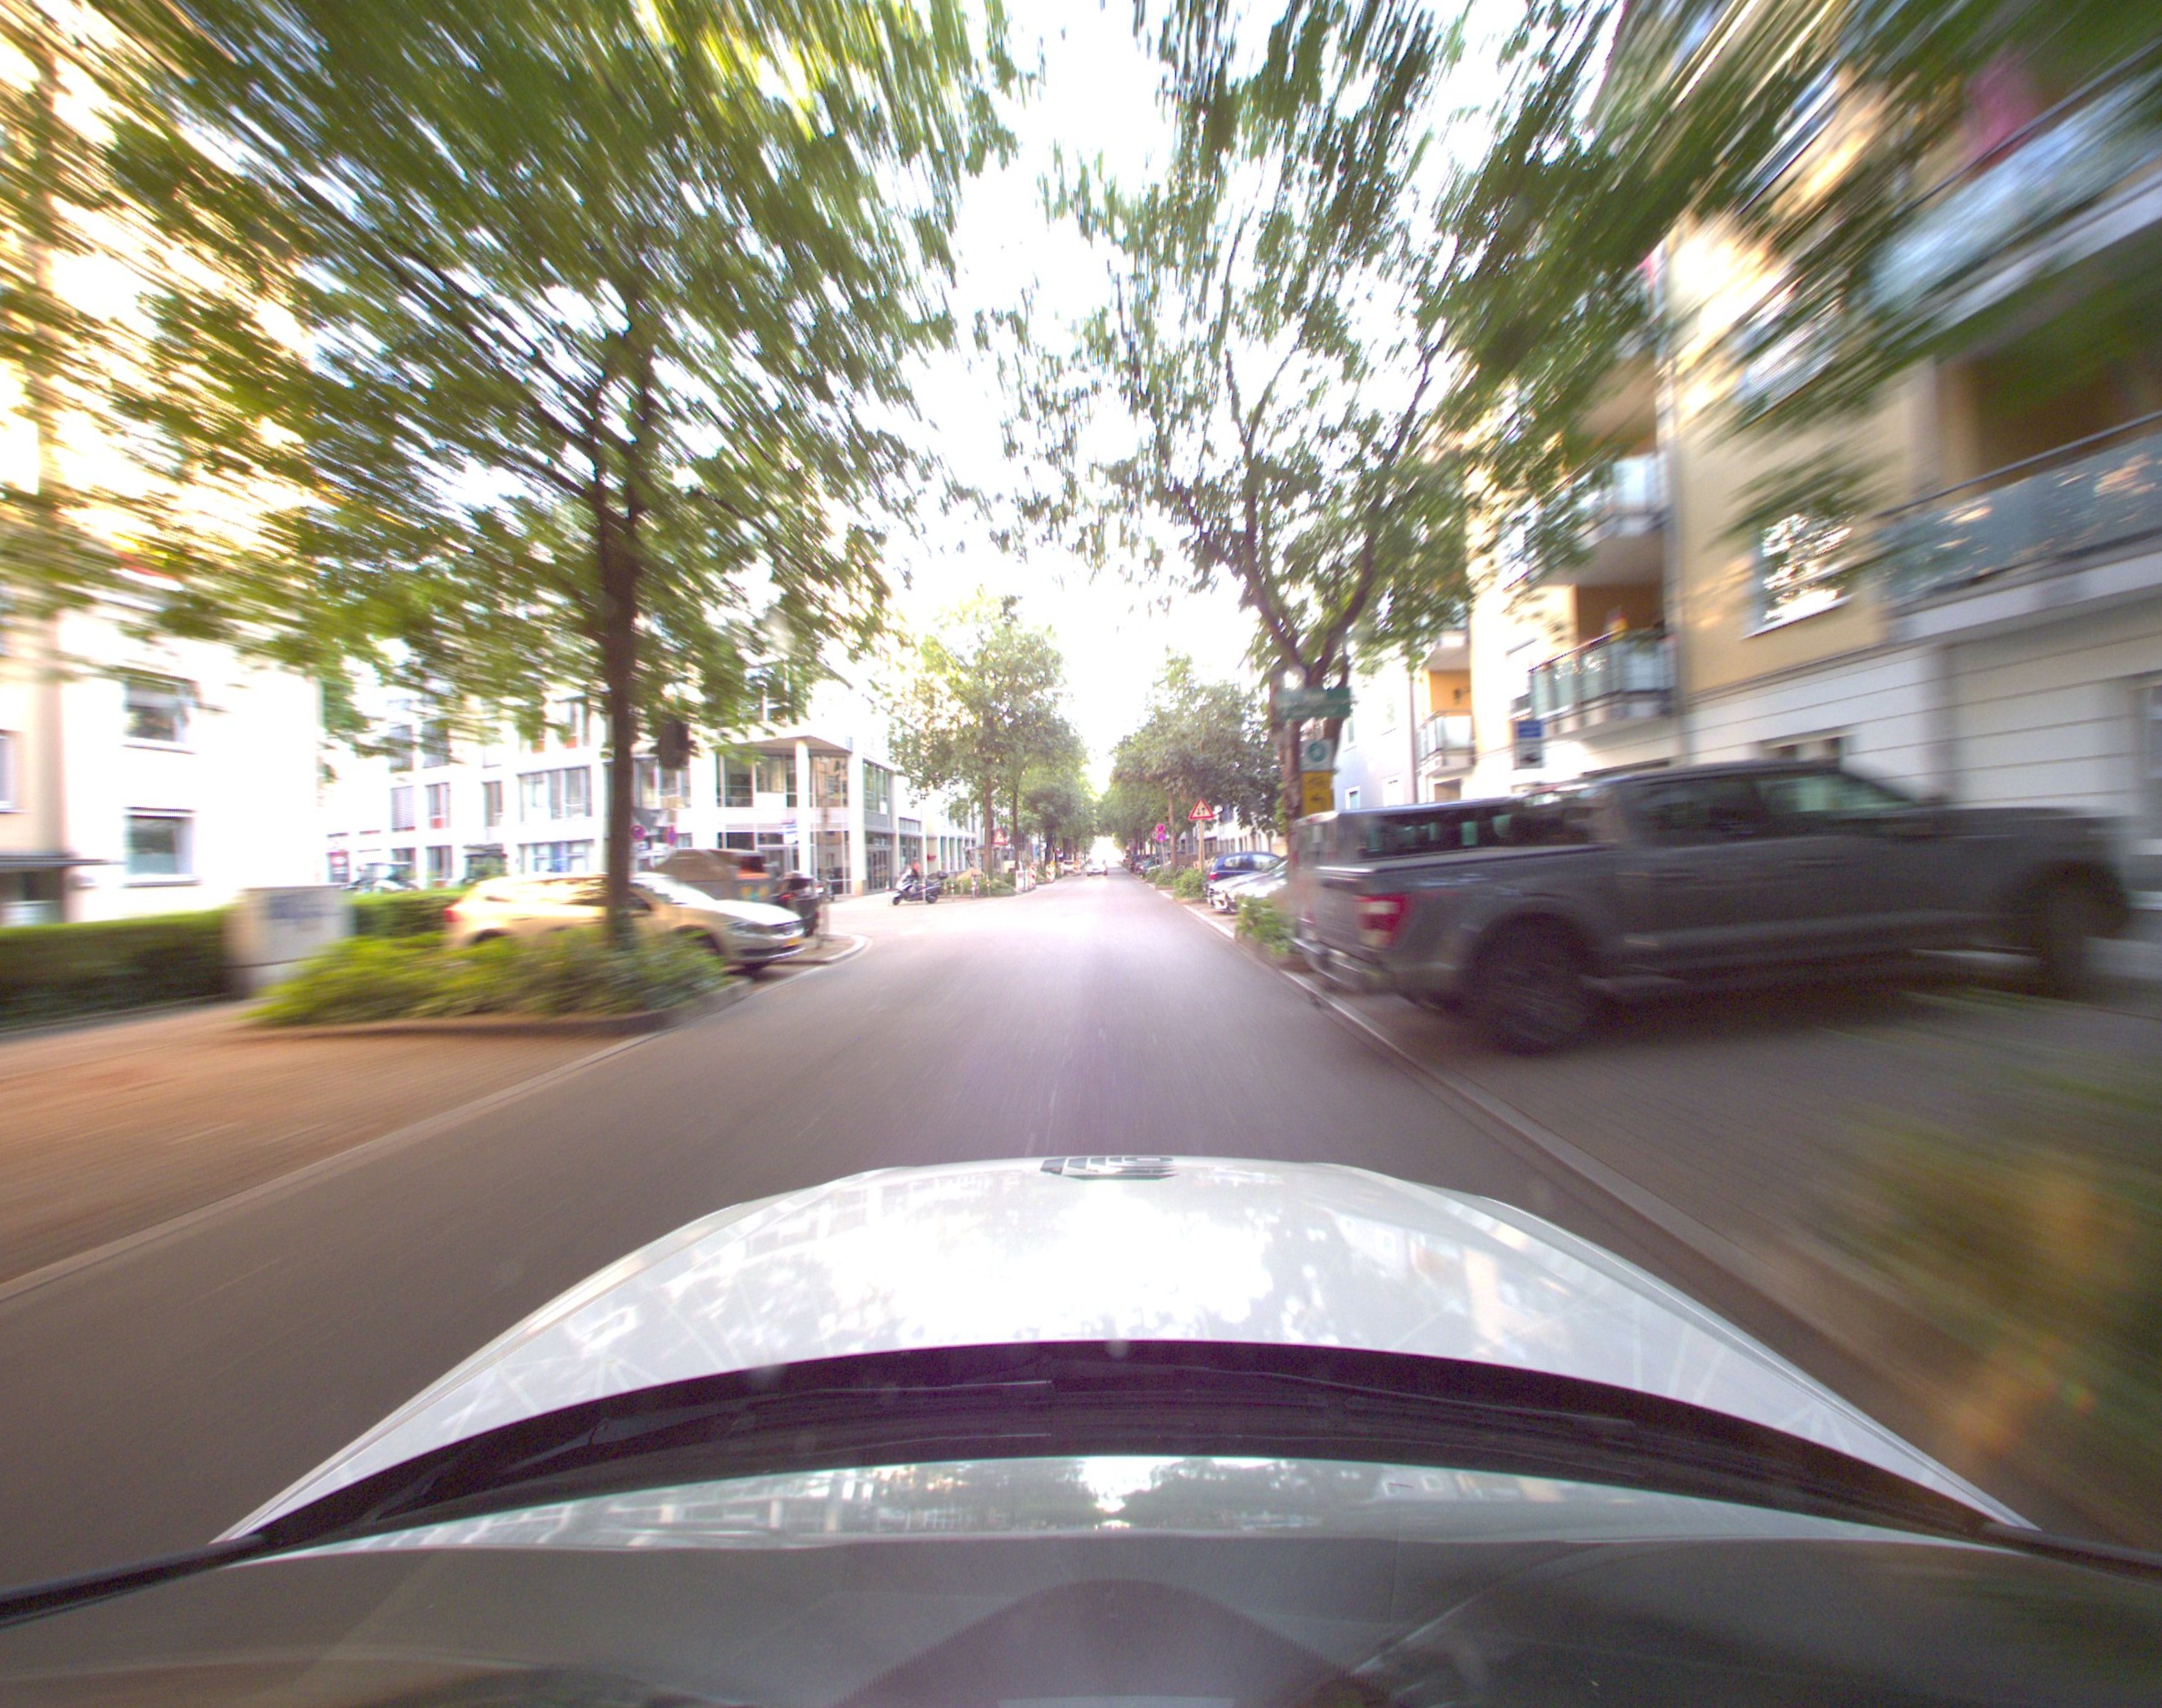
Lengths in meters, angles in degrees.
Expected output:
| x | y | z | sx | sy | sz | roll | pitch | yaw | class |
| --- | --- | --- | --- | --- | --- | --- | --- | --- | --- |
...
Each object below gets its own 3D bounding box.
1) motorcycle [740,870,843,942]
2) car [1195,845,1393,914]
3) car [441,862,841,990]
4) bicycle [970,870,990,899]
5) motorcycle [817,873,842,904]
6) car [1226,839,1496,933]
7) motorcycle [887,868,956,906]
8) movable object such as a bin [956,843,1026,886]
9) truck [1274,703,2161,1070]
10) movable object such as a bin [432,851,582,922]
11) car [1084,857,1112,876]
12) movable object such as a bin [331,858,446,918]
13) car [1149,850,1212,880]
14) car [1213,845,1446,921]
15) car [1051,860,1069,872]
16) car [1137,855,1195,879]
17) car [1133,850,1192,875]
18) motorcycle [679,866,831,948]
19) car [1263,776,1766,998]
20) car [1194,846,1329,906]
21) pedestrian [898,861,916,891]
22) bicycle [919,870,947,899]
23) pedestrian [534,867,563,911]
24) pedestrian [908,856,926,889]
| x | y | z | sx | sy | sz | roll | pitch | yaw | class |
| --- | --- | --- | --- | --- | --- | --- | --- | --- | --- |
| -6.189 | 1.088 | 17.371 | 2.225 | 1.420 | 0.858 | -2 | -1 | 32 | motorcycle |
| 5.385 | 0.627 | 21.053 | 4.605 | 1.571 | 2.011 | -2 | -1 | 1 | car |
| -6.107 | 0.960 | 11.698 | 4.598 | 1.552 | 2.077 | -2 | -1 | 4 | car |
| -4.320 | 1.286 | 34.996 | 0.681 | 1.152 | 1.978 | -2 | 0 | -3 | bicycle |
| -10.195 | 1.372 | 33.064 | 0.556 | 1.172 | 2.302 | -2 | 0 | -7 | motorcycle |
| 5.355 | 0.601 | 16.054 | 4.607 | 1.502 | 1.961 | -3 | -1 | 0 | car |
| -6.131 | 1.251 | 31.358 | 2.368 | 1.281 | 1.055 | -2 | 0 | -39 | motorcycle |
| -5.425 | 0.597 | 49.569 | 4.038 | 2.383 | 2.780 | -2 | 0 | -4 | movable object such as a bin |
| 4.772 | 0.238 | 6.643 | 5.865 | 2.311 | 2.214 | -2 | -1 | 2 | truck |
| -23.603 | 1.319 | 33.481 | 5.580 | 2.692 | 2.297 | -2 | 0 | 22 | movable object such as a bin |
| 1.619 | 1.141 | 76.333 | 1.997 | 1.613 | 4.131 | -2 | 0 | 10 | car |
| -31.375 | 1.529 | 36.911 | 4.048 | 2.540 | 2.297 | -2 | 0 | 22 | movable object such as a bin |
| 6.515 | 0.736 | 53.464 | 3.967 | 1.805 | 2.003 | -2 | -1 | 5 | car |
| 5.528 | 0.647 | 18.654 | 4.762 | 1.520 | 1.993 | -2 | -1 | 3 | car |
| -2.433 | 1.395 | 94.259 | 1.989 | 1.288 | 3.996 | -2 | 0 | -2 | car |
| 5.998 | 0.916 | 58.055 | 3.970 | 1.585 | 2.002 | -2 | -1 | 3 | car |
| 6.732 | 0.694 | 67.622 | 4.722 | 2.014 | 2.000 | -1 | 0 | 1 | car |
| -6.086 | 0.977 | 15.293 | 2.442 | 1.420 | 0.912 | -2 | -1 | 3 | motorcycle |
| 4.659 | 0.334 | 9.390 | 4.585 | 2.066 | 2.197 | -2 | 0 | 0 | car |
| 5.168 | 0.632 | 23.721 | 3.526 | 1.564 | 1.832 | -2 | -1 | 1 | car |
| -9.139 | 1.149 | 42.814 | 0.767 | 1.536 | 0.643 | -2 | -1 | 2 | pedestrian |
| -6.348 | 1.304 | 35.021 | 0.680 | 1.152 | 1.982 | -2 | 0 | 3 | bicycle |
| -23.264 | 1.537 | 35.583 | 0.895 | 1.851 | 0.865 | -2 | -1 | -42 | pedestrian |
| -8.515 | 0.940 | 42.418 | 0.736 | 1.690 | 0.607 | -2 | -1 | 3 | pedestrian |
